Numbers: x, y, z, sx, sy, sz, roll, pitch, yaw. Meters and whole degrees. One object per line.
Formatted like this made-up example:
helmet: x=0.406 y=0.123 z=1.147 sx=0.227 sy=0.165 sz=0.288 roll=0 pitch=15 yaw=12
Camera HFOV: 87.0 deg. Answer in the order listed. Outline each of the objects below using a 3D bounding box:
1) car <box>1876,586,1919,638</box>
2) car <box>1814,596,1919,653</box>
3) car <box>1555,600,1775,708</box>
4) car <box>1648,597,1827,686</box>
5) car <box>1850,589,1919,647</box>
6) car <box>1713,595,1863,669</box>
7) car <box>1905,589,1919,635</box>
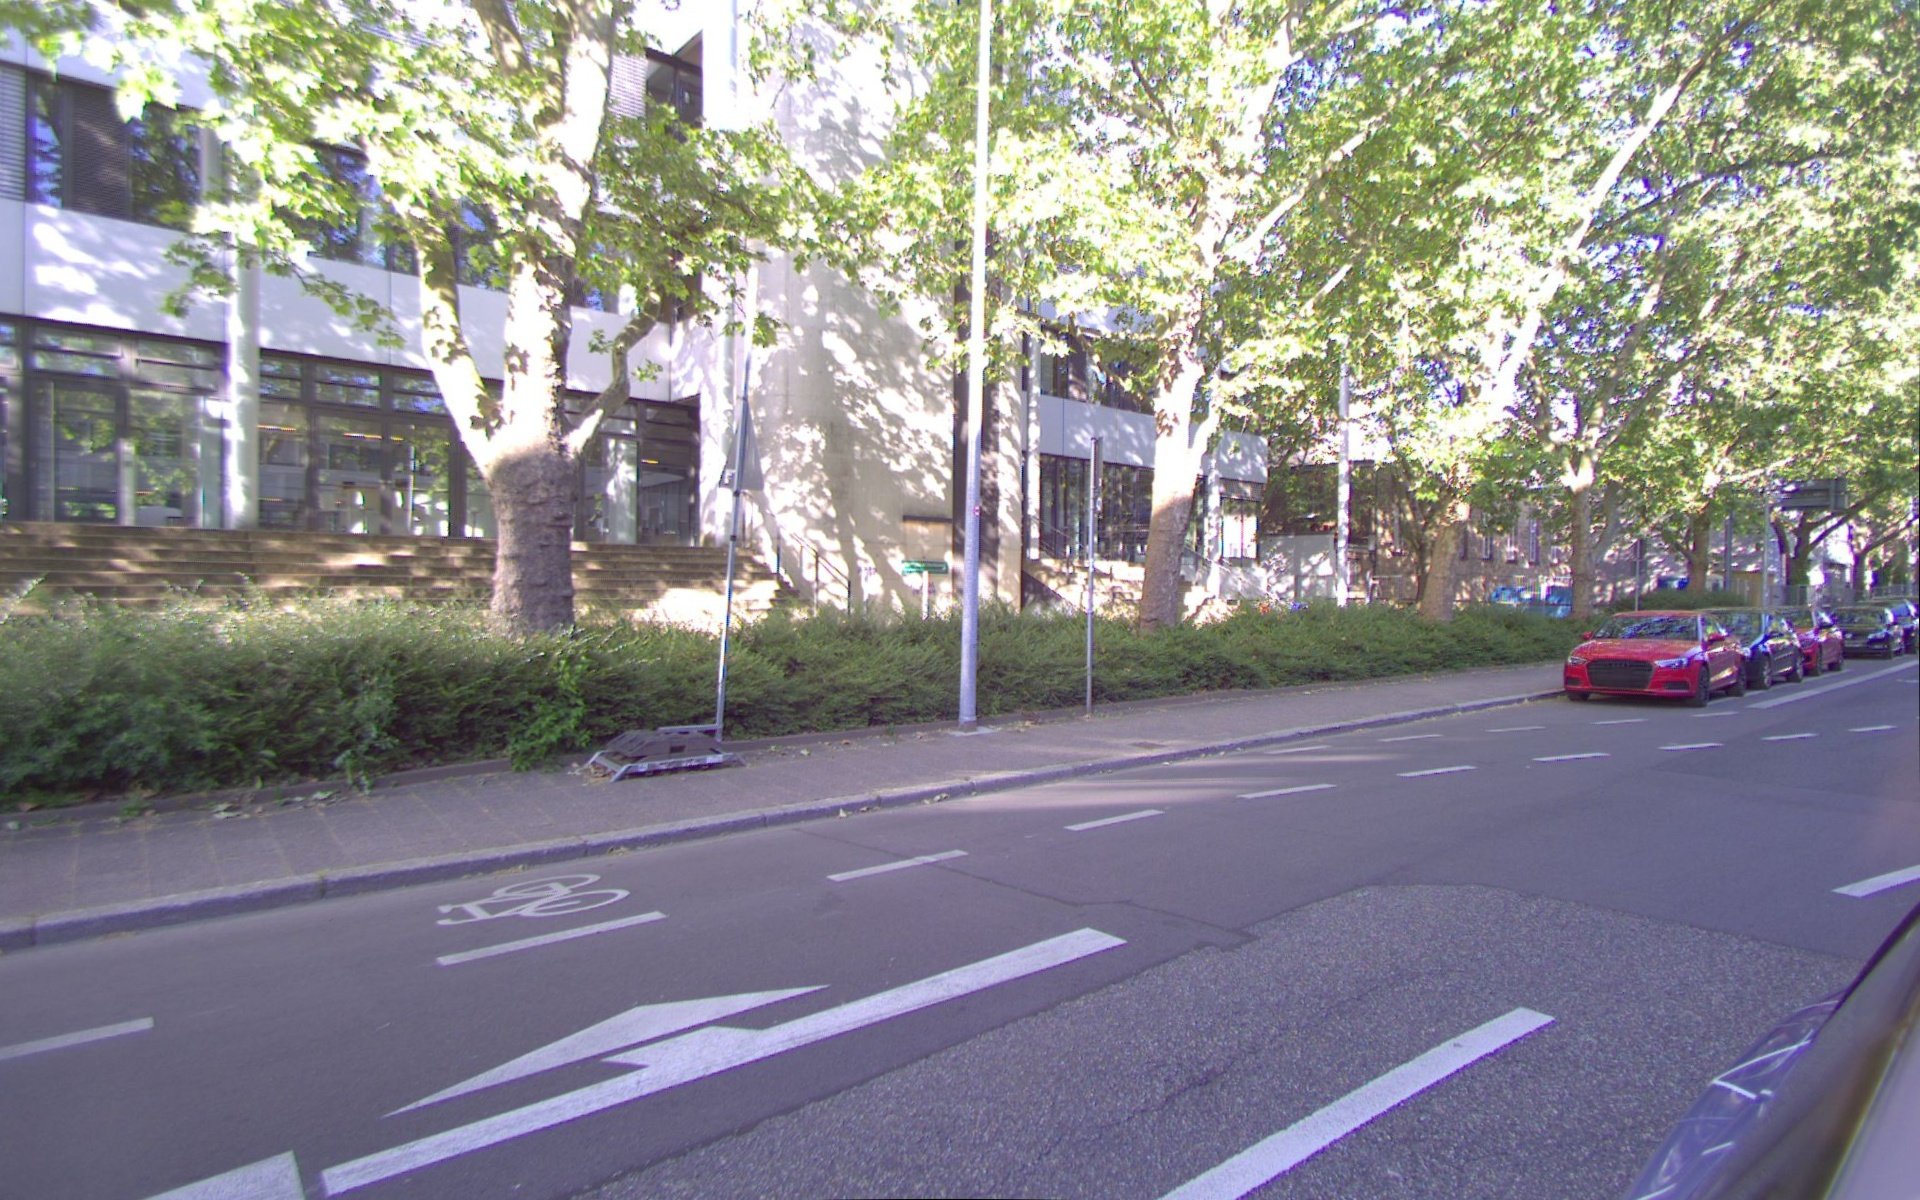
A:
car: x=33.912 y=0.398 z=35.693 sx=4.403 sy=1.781 sz=1.865 roll=0 pitch=0 yaw=-41
car: x=25.795 y=0.624 z=28.608 sx=4.403 sy=1.469 sz=1.865 roll=0 pitch=0 yaw=-41
car: x=11.323 y=0.741 z=16.137 sx=4.403 sy=1.469 sz=1.865 roll=0 pitch=0 yaw=-41
car: x=14.770 y=0.694 z=19.137 sx=4.403 sy=1.469 sz=1.865 roll=0 pitch=0 yaw=-41
car: x=29.574 y=0.517 z=31.803 sx=4.403 sy=1.689 sz=1.865 roll=0 pitch=0 yaw=-41
car: x=18.439 y=0.639 z=22.475 sx=4.403 sy=1.469 sz=1.865 roll=0 pitch=0 yaw=-41
car: x=38.878 y=0.447 z=39.963 sx=4.403 sy=1.781 sz=1.865 roll=0 pitch=0 yaw=-41
